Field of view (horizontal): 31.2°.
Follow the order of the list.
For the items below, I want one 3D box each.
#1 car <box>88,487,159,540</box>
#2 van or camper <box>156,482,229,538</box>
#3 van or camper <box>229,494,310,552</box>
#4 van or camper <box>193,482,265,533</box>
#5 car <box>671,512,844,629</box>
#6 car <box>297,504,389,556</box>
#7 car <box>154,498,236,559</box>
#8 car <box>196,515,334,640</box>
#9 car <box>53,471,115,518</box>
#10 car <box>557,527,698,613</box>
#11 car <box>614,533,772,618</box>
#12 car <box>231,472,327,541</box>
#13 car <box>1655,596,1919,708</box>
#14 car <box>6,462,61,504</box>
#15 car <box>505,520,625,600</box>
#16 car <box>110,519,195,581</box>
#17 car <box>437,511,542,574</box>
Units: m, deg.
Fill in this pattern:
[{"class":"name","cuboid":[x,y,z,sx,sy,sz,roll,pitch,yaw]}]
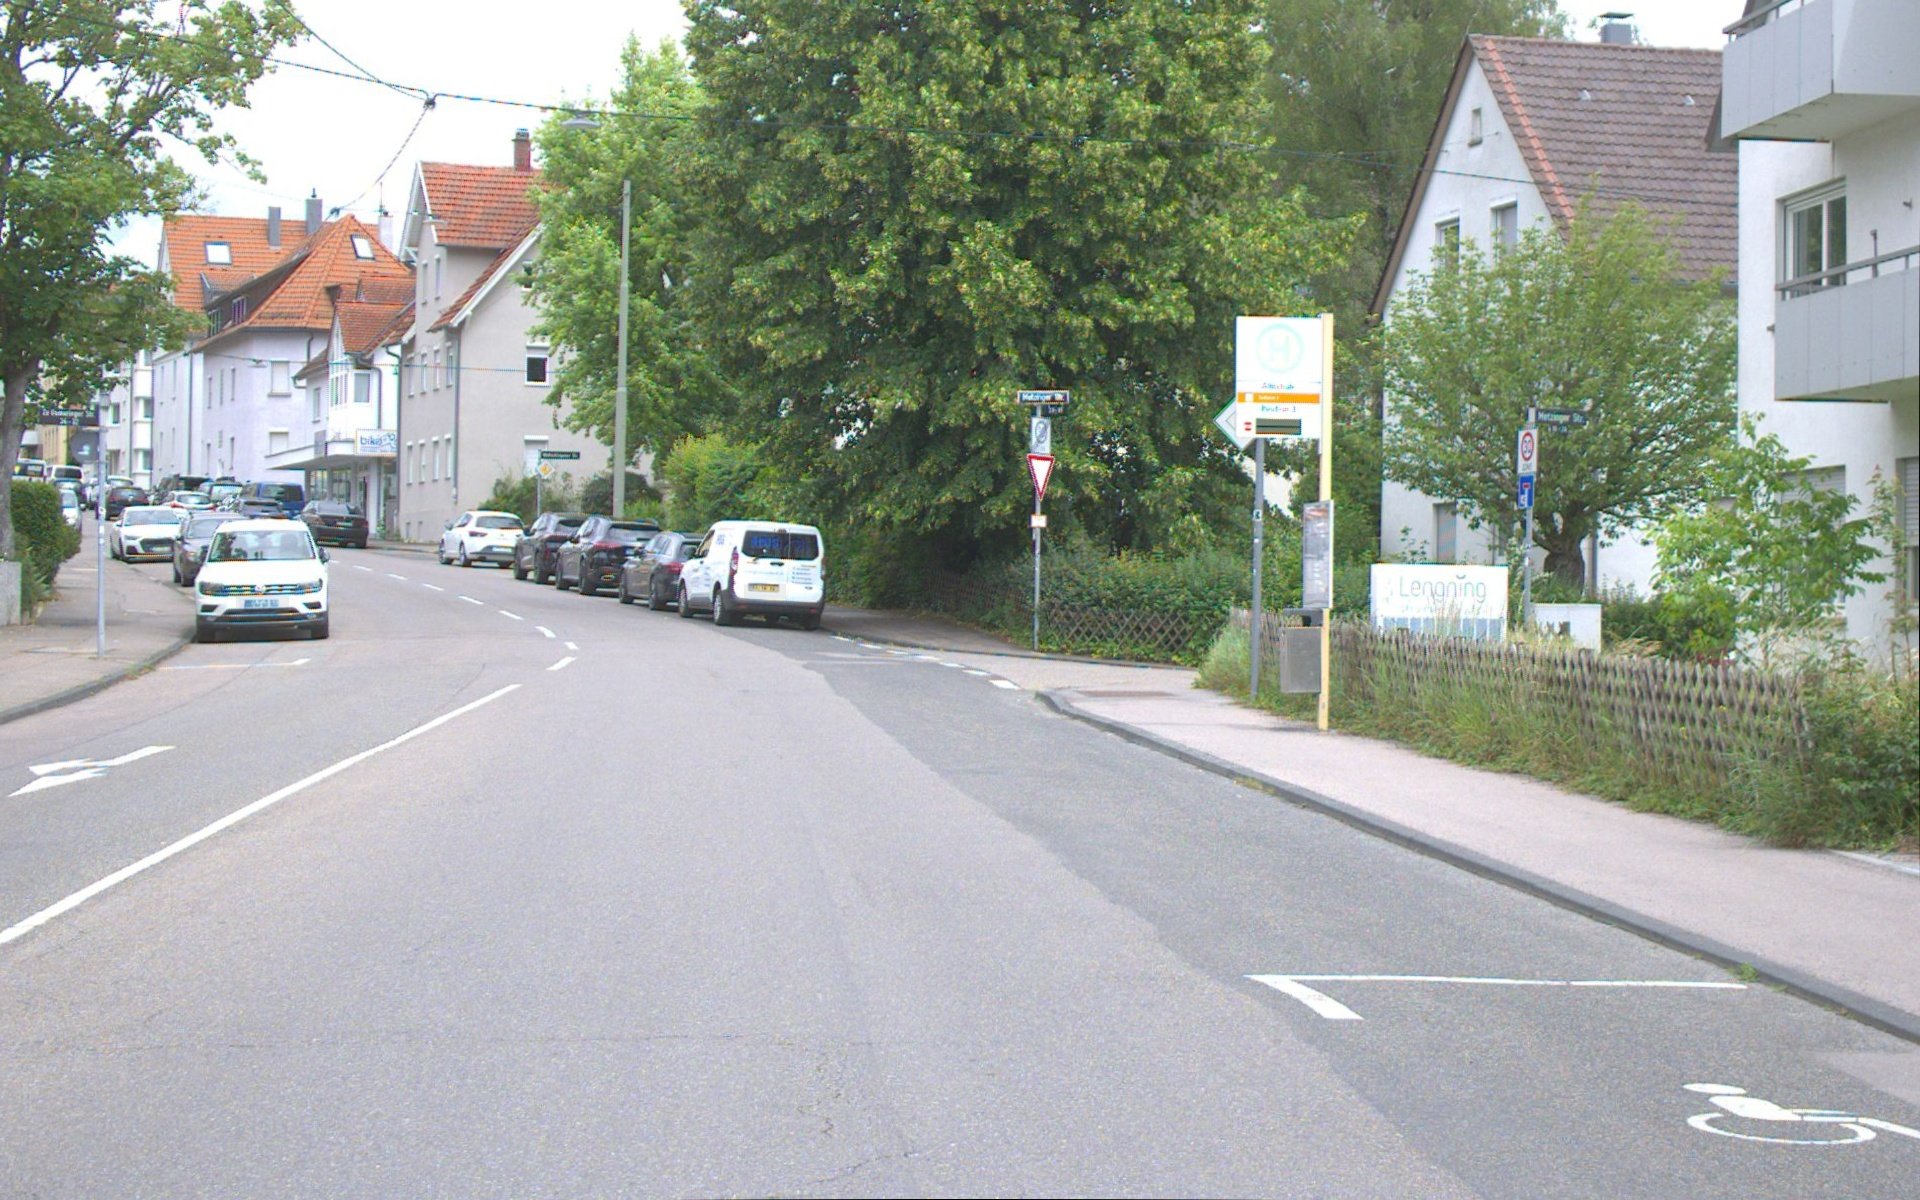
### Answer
[{"class":"car","cuboid":[-33.639,-3.490,138.219,2.151,2.007,4.001,2,1,-22]},{"class":"van or camper","cuboid":[-31.487,-3.716,140.918,1.993,2.058,5.947,4,1,-21]},{"class":"van or camper","cuboid":[-24.640,-2.767,122.499,1.926,1.919,4.832,2,2,-22]},{"class":"van or camper","cuboid":[-28.475,-3.608,133.822,1.870,1.822,4.682,3,1,-22]},{"class":"car","cuboid":[-3.544,-0.532,59.298,1.837,1.768,4.319,3,1,-18]},{"class":"car","cuboid":[-20.128,-2.287,112.004,1.993,1.512,4.893,3,1,-21]},{"class":"car","cuboid":[-27.323,-2.562,122.650,2.151,2.007,4.001,2,1,-22]},{"class":"car","cuboid":[-10.018,-0.372,49.677,1.849,1.708,4.576,-1,1,-11]},{"class":"car","cuboid":[-39.979,-4.813,156.850,2.151,2.007,4.001,2,1,-22]},{"class":"car","cuboid":[-6.922,-0.646,71.124,1.993,1.610,4.541,3,1,-17]},{"class":"car","cuboid":[-5.047,-0.480,64.498,1.993,1.473,4.622,1,1,-17]},{"class":"car","cuboid":[-21.209,-2.916,106.961,2.151,2.007,4.001,2,1,-22]},{"class":"car","cuboid":[12.864,0.809,53.291,3.696,1.558,1.688,3,-1,-19]},{"class":"car","cuboid":[-46.962,-5.949,174.219,2.151,2.007,4.001,2,1,-22]},{"class":"car","cuboid":[-8.834,-0.915,76.659,1.810,1.610,4.541,3,1,-17]},{"class":"car","cuboid":[-20.781,-1.305,88.375,1.725,1.453,3.900,-3,2,-19]},{"class":"car","cuboid":[-12.026,-1.476,87.648,1.940,1.434,4.002,2,2,-18]}]
